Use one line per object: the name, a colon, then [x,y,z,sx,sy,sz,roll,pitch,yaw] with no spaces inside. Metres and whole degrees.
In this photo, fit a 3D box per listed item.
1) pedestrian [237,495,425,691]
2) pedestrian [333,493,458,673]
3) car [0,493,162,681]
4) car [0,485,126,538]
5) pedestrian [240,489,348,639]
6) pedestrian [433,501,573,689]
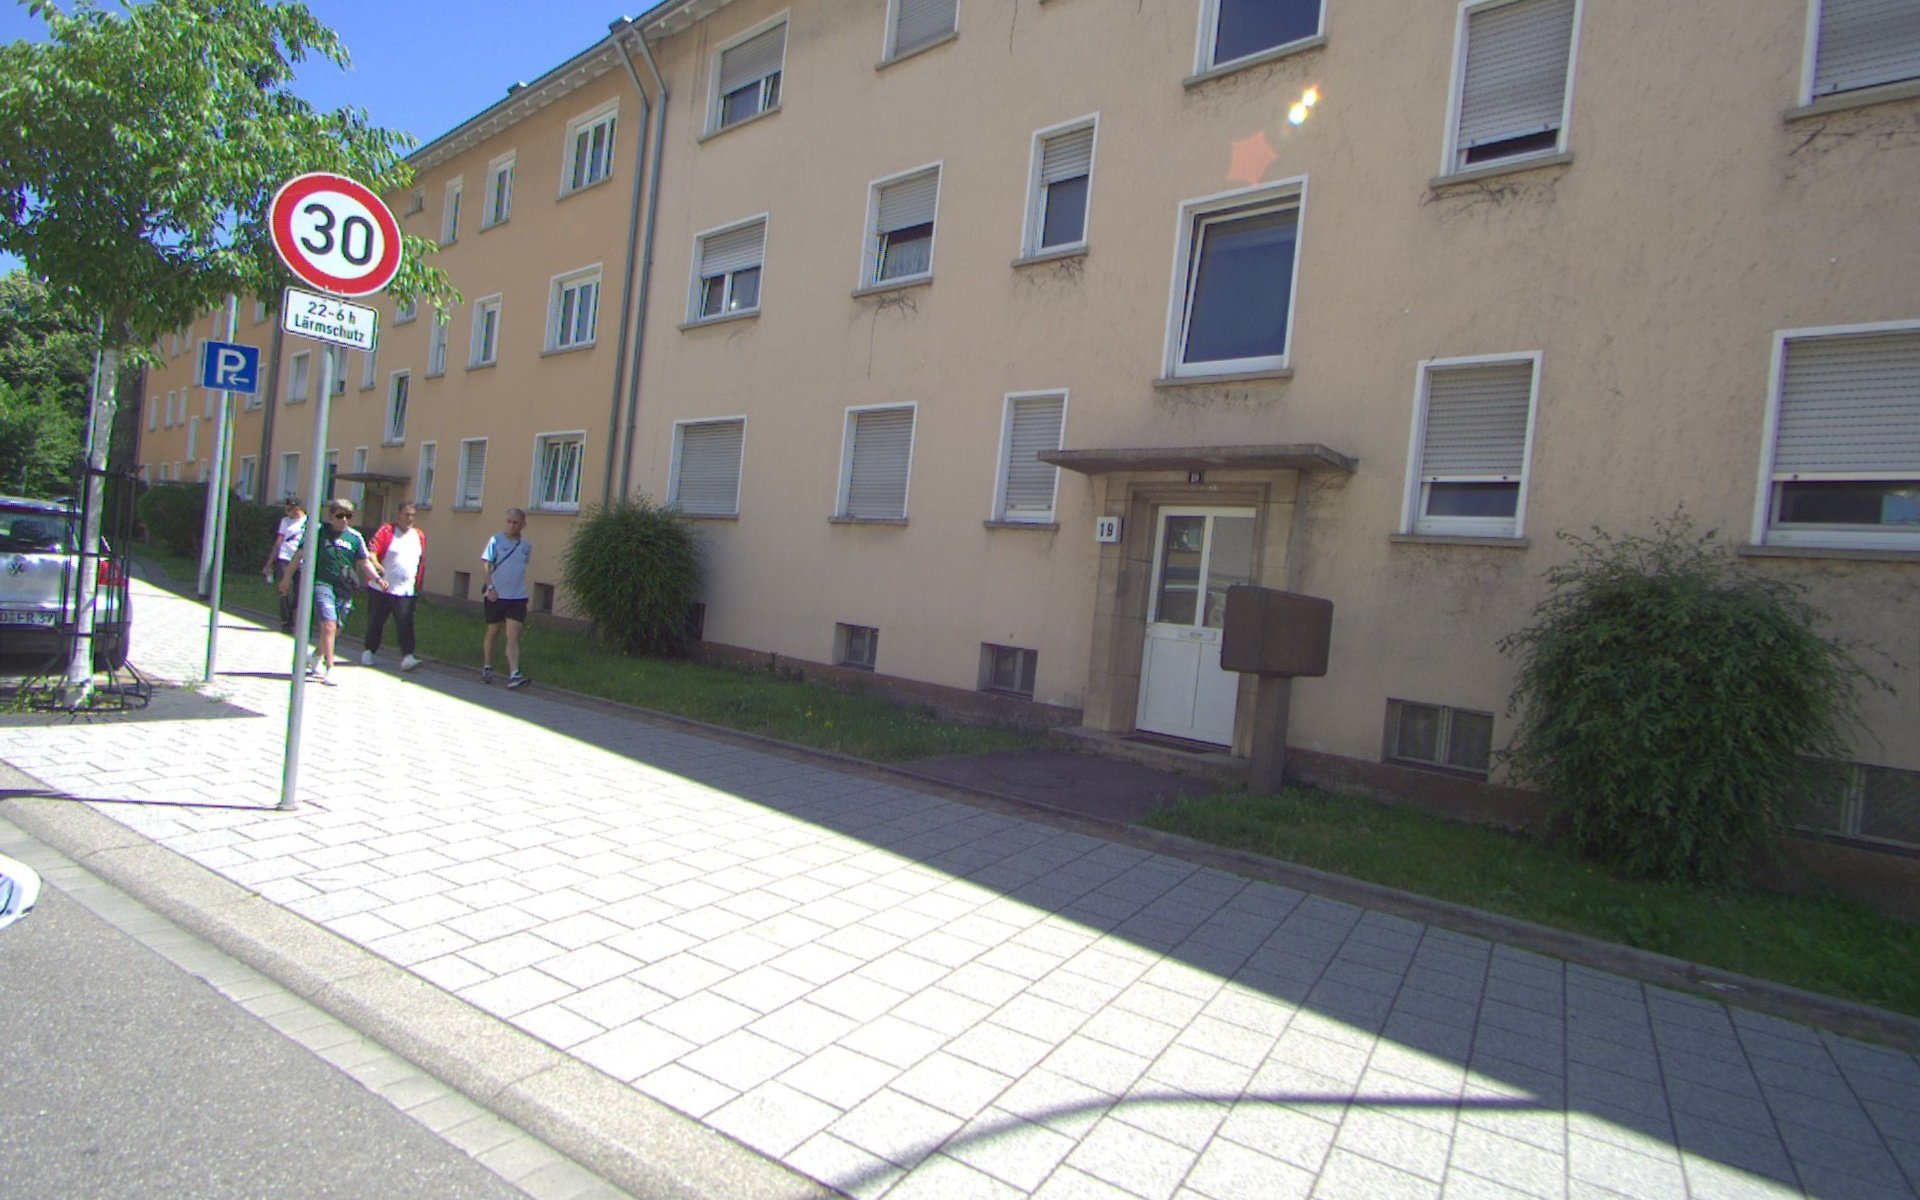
pedestrian: [-6.172,-0.082,9.881,1.173,1.756,1.169,6,3,36]
pedestrian: [-6.156,-0.190,10.971,0.991,1.836,0.786,7,3,37]
car: [-9.343,-0.259,9.454,4.439,1.495,1.811,5,1,37]
car: [-44.570,-4.361,50.045,1.722,1.860,4.344,6,-2,33]
pedestrian: [-8.909,-0.480,13.458,0.969,1.877,0.820,6,1,37]
pedestrian: [-4.700,-0.047,10.345,0.993,1.801,0.793,7,1,37]
